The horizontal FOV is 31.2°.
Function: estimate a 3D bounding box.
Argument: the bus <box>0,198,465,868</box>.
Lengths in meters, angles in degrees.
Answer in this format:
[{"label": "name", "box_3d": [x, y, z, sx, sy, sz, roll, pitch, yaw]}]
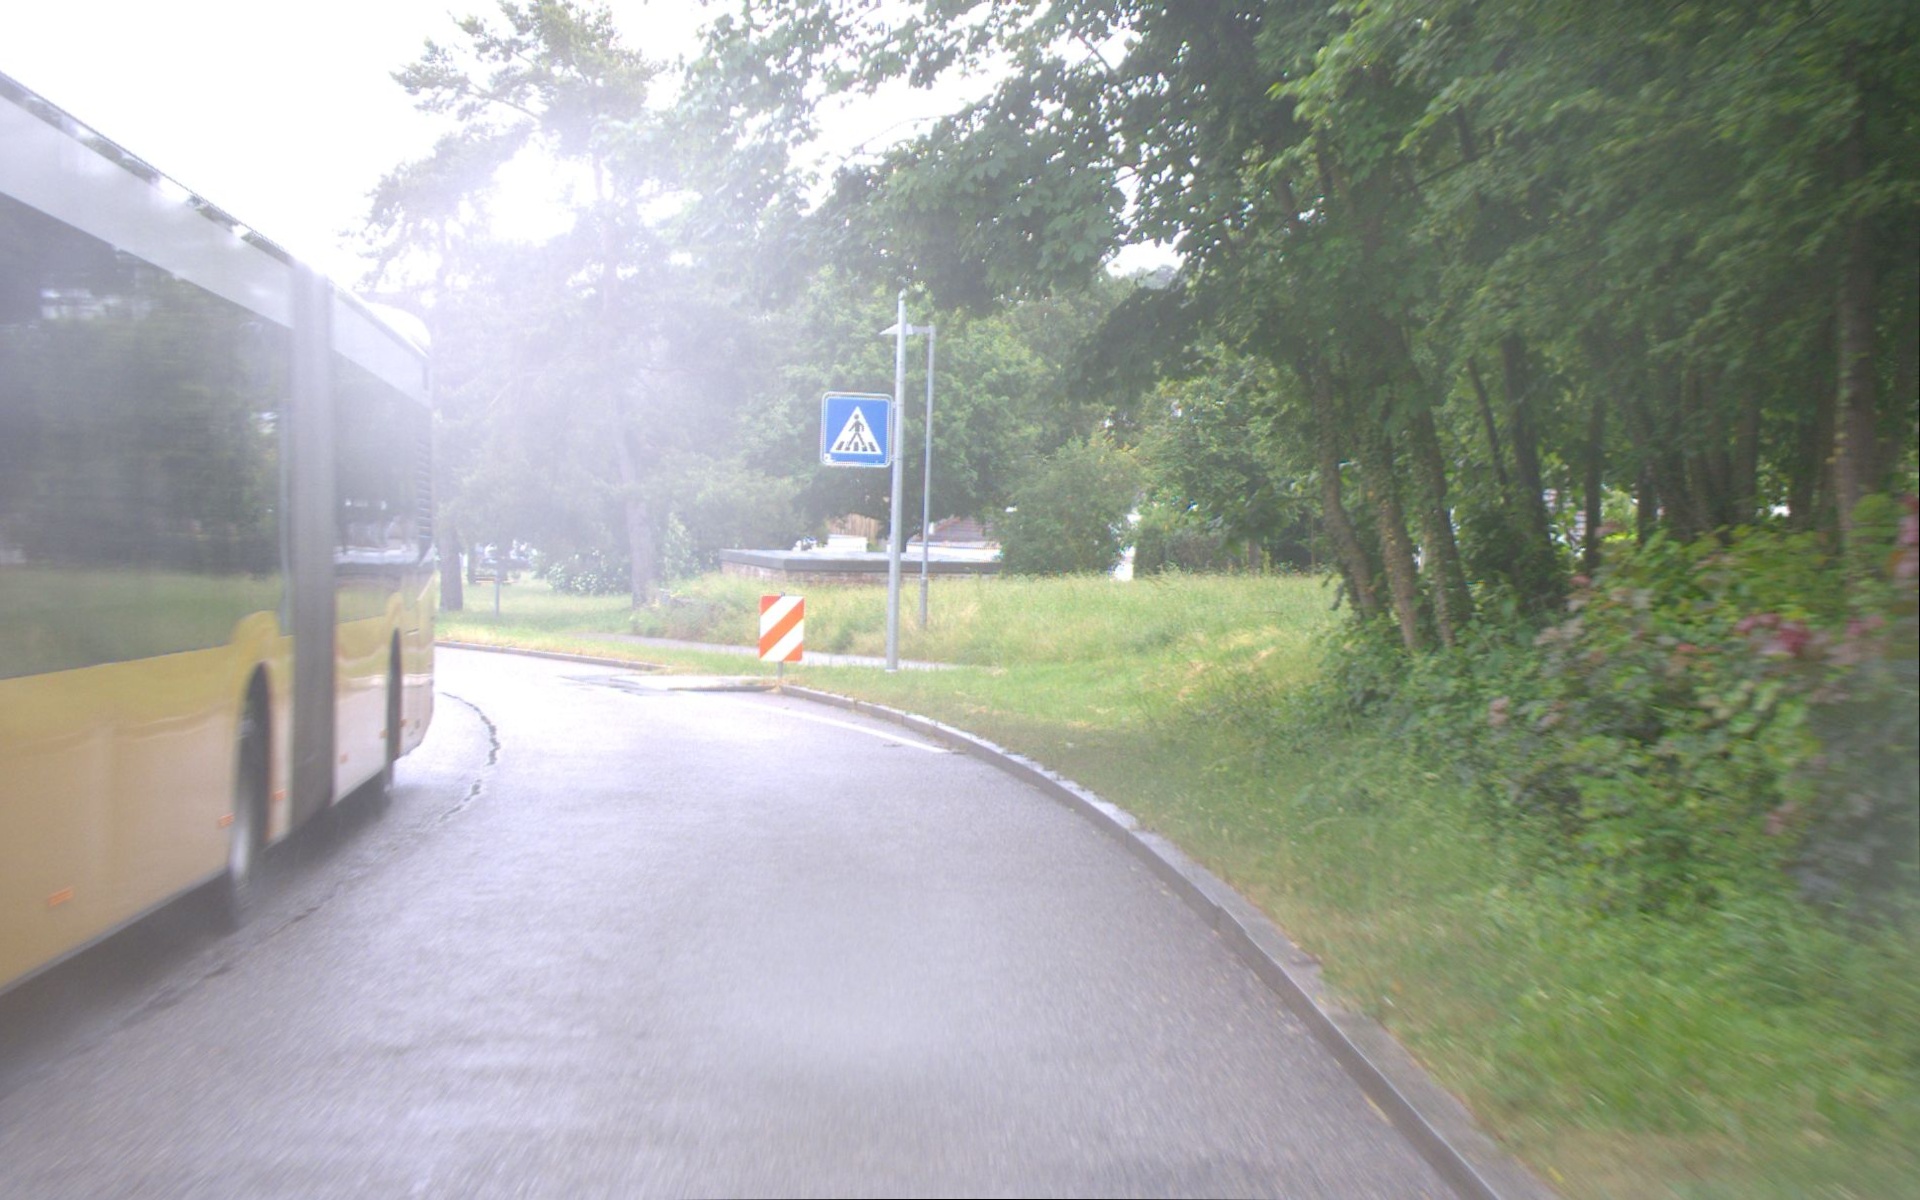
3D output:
[{"label": "bus", "box_3d": [-4.437, -0.353, 19.389, 2.639, 3.022, 7.667, 1, 1, -4]}]

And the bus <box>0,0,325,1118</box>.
[{"label": "bus", "box_3d": [-3.886, -0.199, 10.113, 2.639, 3.057, 10.857, 0, 1, -3]}]

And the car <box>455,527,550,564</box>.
[{"label": "car", "box_3d": [-23.828, -2.834, 178.989, 4.549, 1.744, 1.910, -2, 1, 24]}]
